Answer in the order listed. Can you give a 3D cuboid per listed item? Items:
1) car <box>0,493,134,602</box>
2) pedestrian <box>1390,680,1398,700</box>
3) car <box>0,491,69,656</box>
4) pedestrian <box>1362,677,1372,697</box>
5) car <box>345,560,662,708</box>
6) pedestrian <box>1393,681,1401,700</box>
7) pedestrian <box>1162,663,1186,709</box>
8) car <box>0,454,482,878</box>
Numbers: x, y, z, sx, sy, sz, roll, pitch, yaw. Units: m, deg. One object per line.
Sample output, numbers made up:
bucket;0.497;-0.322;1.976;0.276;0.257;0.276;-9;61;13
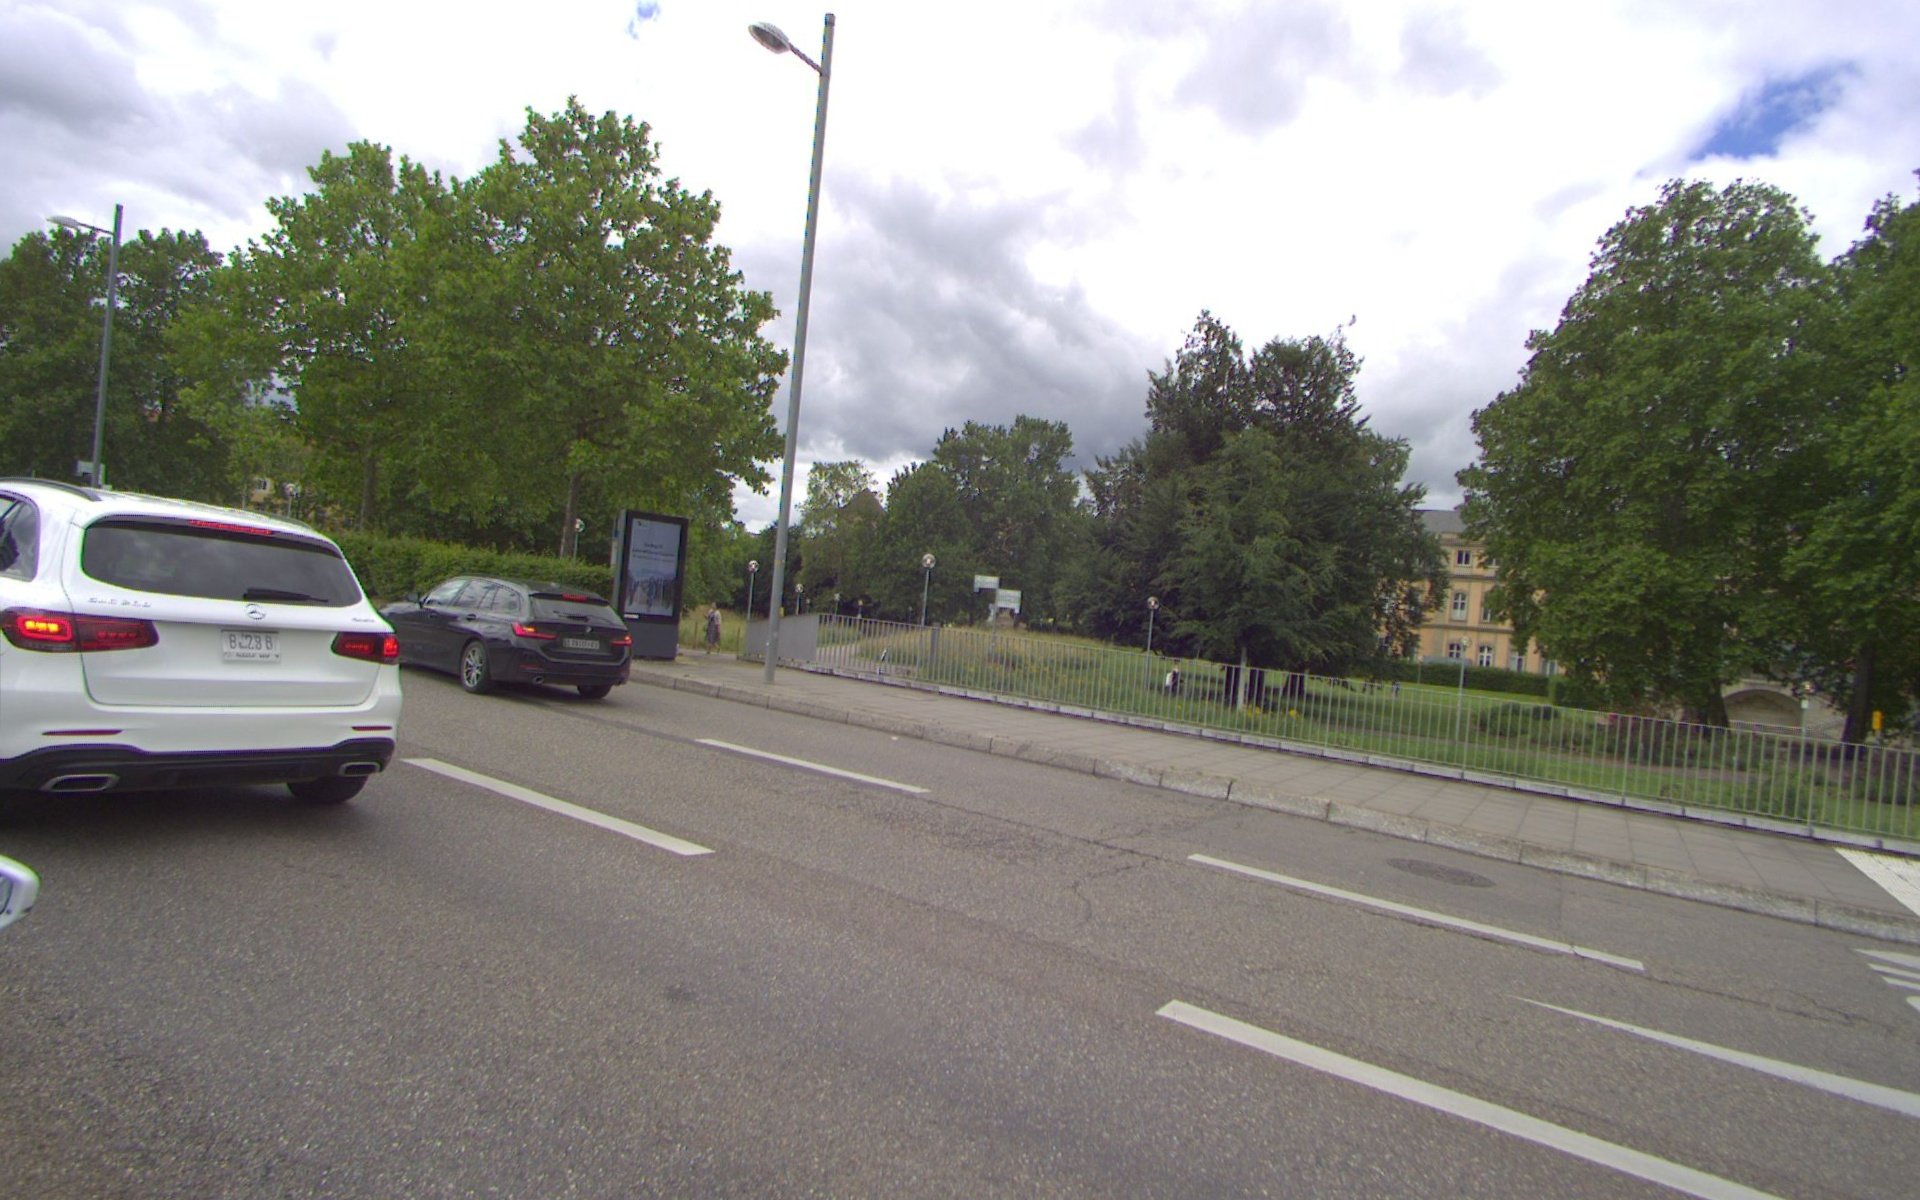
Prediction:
car;-17.332;-1.077;18.593;4.236;1.659;1.995;7;-1;35
pedestrian;39.332;8.163;91.234;0.460;1.756;0.405;5;-2;32
car;-11.376;-0.490;10.481;4.417;1.569;1.929;6;-2;33
pedestrian;37.286;7.970;92.159;0.402;1.756;0.465;8;-2;-30
car;-6.271;0.409;13.612;4.460;1.476;1.932;5;-3;38
pedestrian;39.792;8.256;91.592;0.460;1.725;0.405;5;-2;32
pedestrian;7.965;3.206;37.422;0.645;1.619;0.684;6;-2;8
car;-5.087;0.125;5.947;4.416;1.673;1.929;7;-1;33
